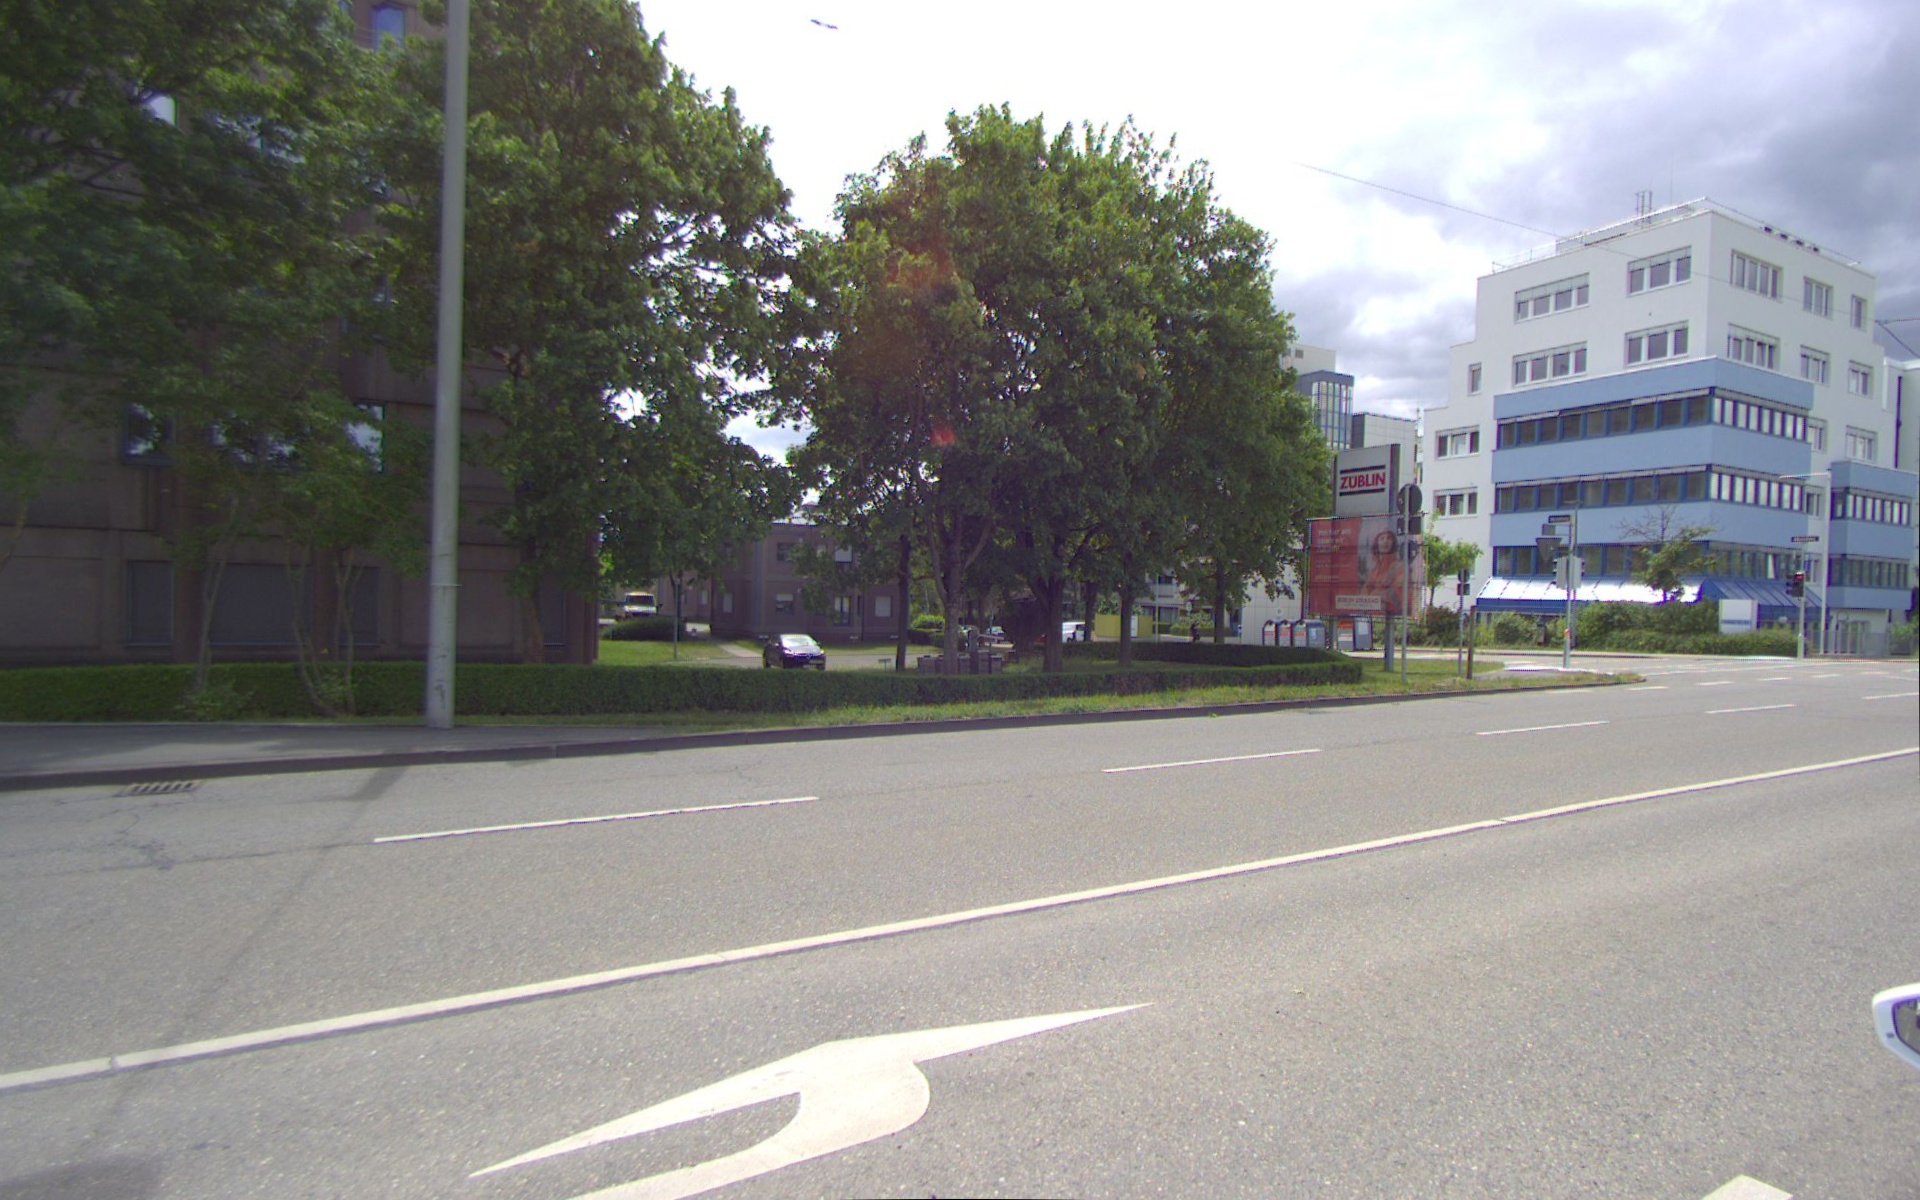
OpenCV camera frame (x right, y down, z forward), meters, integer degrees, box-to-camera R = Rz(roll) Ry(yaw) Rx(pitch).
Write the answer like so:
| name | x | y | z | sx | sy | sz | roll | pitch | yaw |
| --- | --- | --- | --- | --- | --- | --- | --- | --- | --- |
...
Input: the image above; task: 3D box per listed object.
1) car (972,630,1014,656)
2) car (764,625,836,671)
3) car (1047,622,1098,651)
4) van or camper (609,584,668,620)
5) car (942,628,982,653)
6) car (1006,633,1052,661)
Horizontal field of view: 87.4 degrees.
| name | x | y | z | sx | sy | sz | roll | pitch | yaw |
| --- | --- | --- | --- | --- | --- | --- | --- | --- | --- |
| car | 2.801 | 3.646 | 85.319 | 1.848 | 2.040 | 3.972 | 2 | 0 | -27 |
| car | -6.369 | 1.886 | 39.676 | 1.763 | 1.750 | 3.975 | 1 | -3 | -26 |
| car | 8.430 | 2.723 | 75.540 | 1.974 | 2.007 | 3.973 | 2 | 0 | -26 |
| van or camper | -20.104 | 0.085 | 62.596 | 2.332 | 2.132 | 5.160 | 2 | 0 | -31 |
| car | 0.151 | 3.599 | 90.461 | 1.787 | 2.040 | 3.967 | 2 | 0 | -30 |
| car | 5.496 | 3.754 | 80.411 | 1.868 | 2.040 | 3.973 | 2 | 0 | -26 |
